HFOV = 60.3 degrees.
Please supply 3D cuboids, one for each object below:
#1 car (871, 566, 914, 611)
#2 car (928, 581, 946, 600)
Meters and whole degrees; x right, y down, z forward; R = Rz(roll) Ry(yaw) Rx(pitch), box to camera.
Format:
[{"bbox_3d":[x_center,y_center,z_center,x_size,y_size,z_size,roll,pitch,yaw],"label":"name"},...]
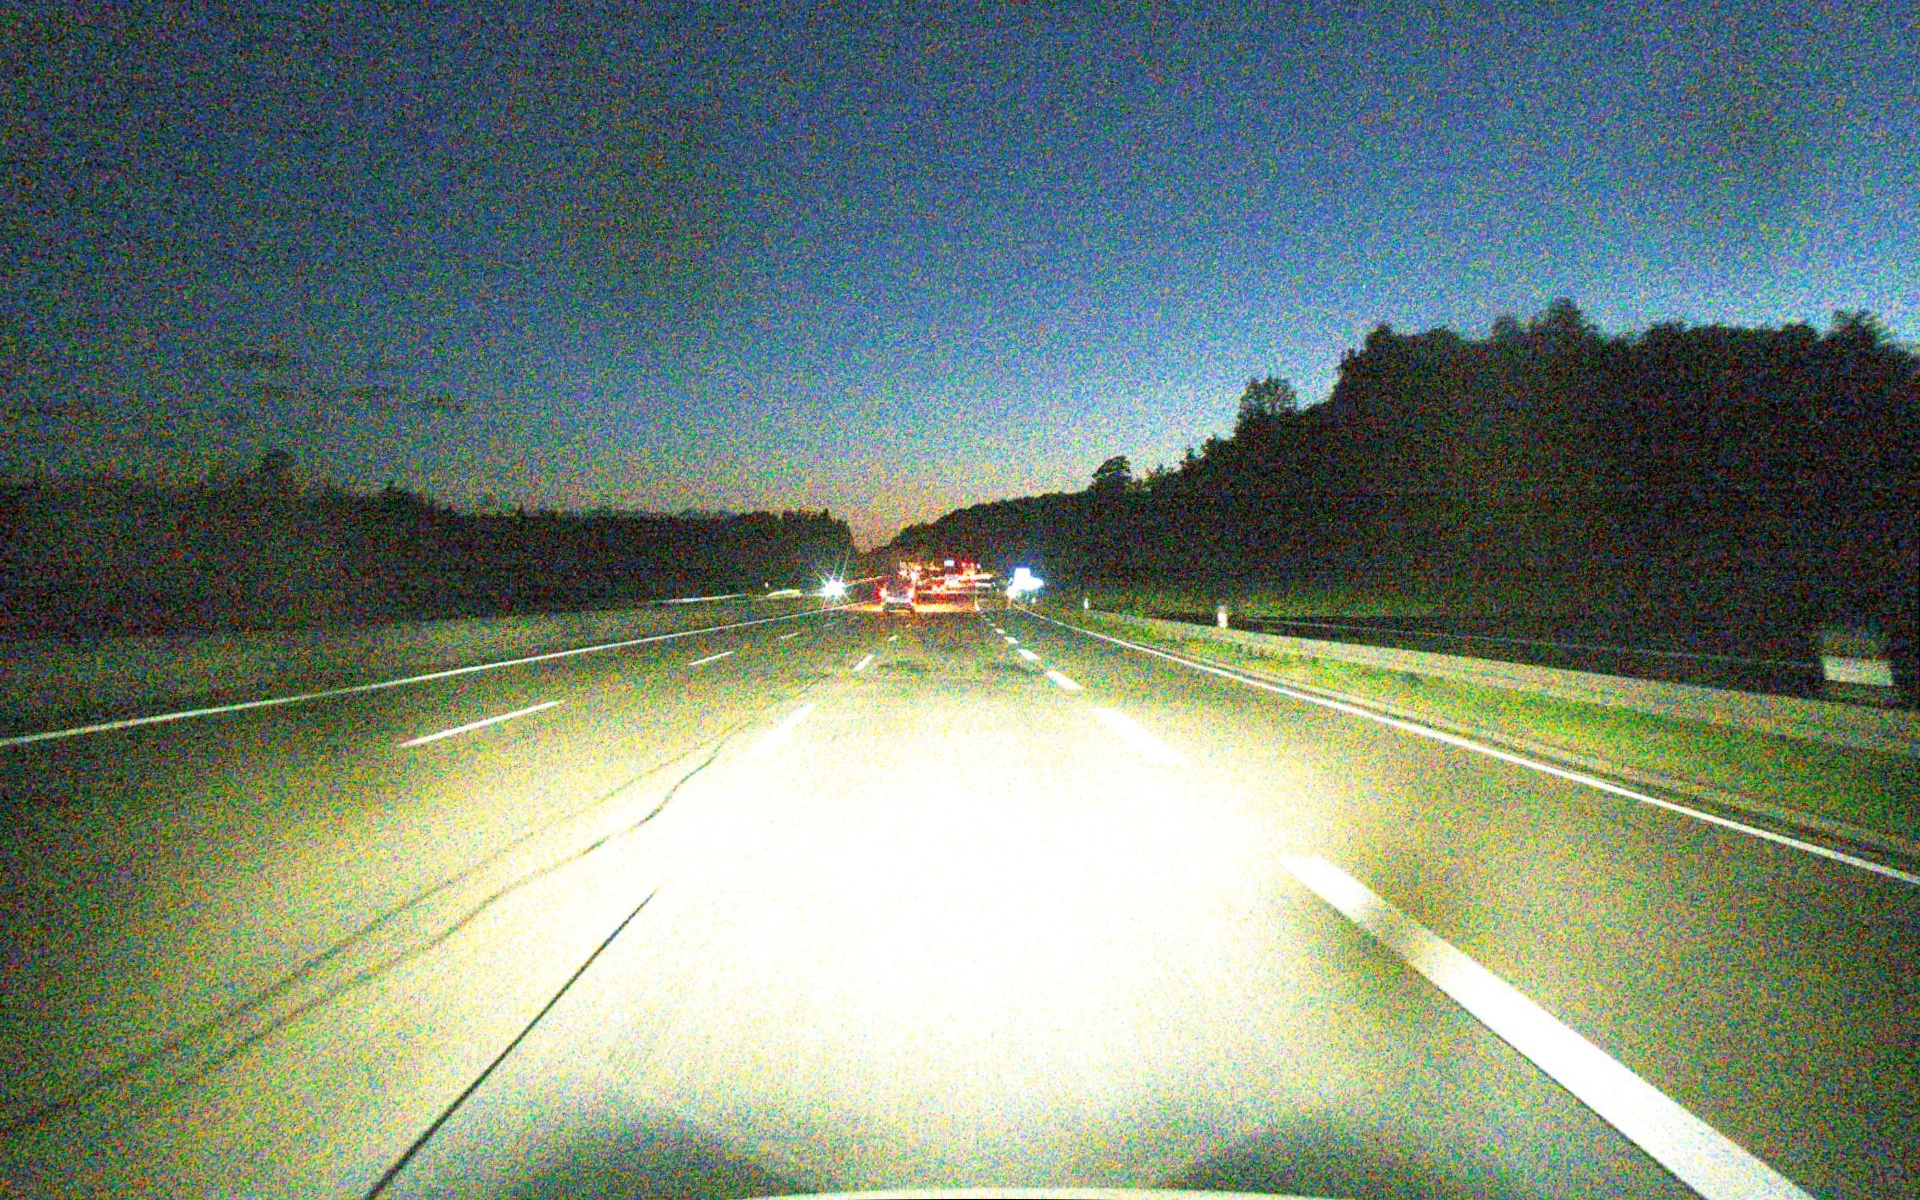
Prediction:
[{"bbox_3d":[-4.411,-0.689,107.709,2.731,2.781,6.294,0,-1,-3],"label":"car"},{"bbox_3d":[-3.652,-1.467,258.043,2.730,2.781,6.297,0,-1,-1],"label":"car"}]
